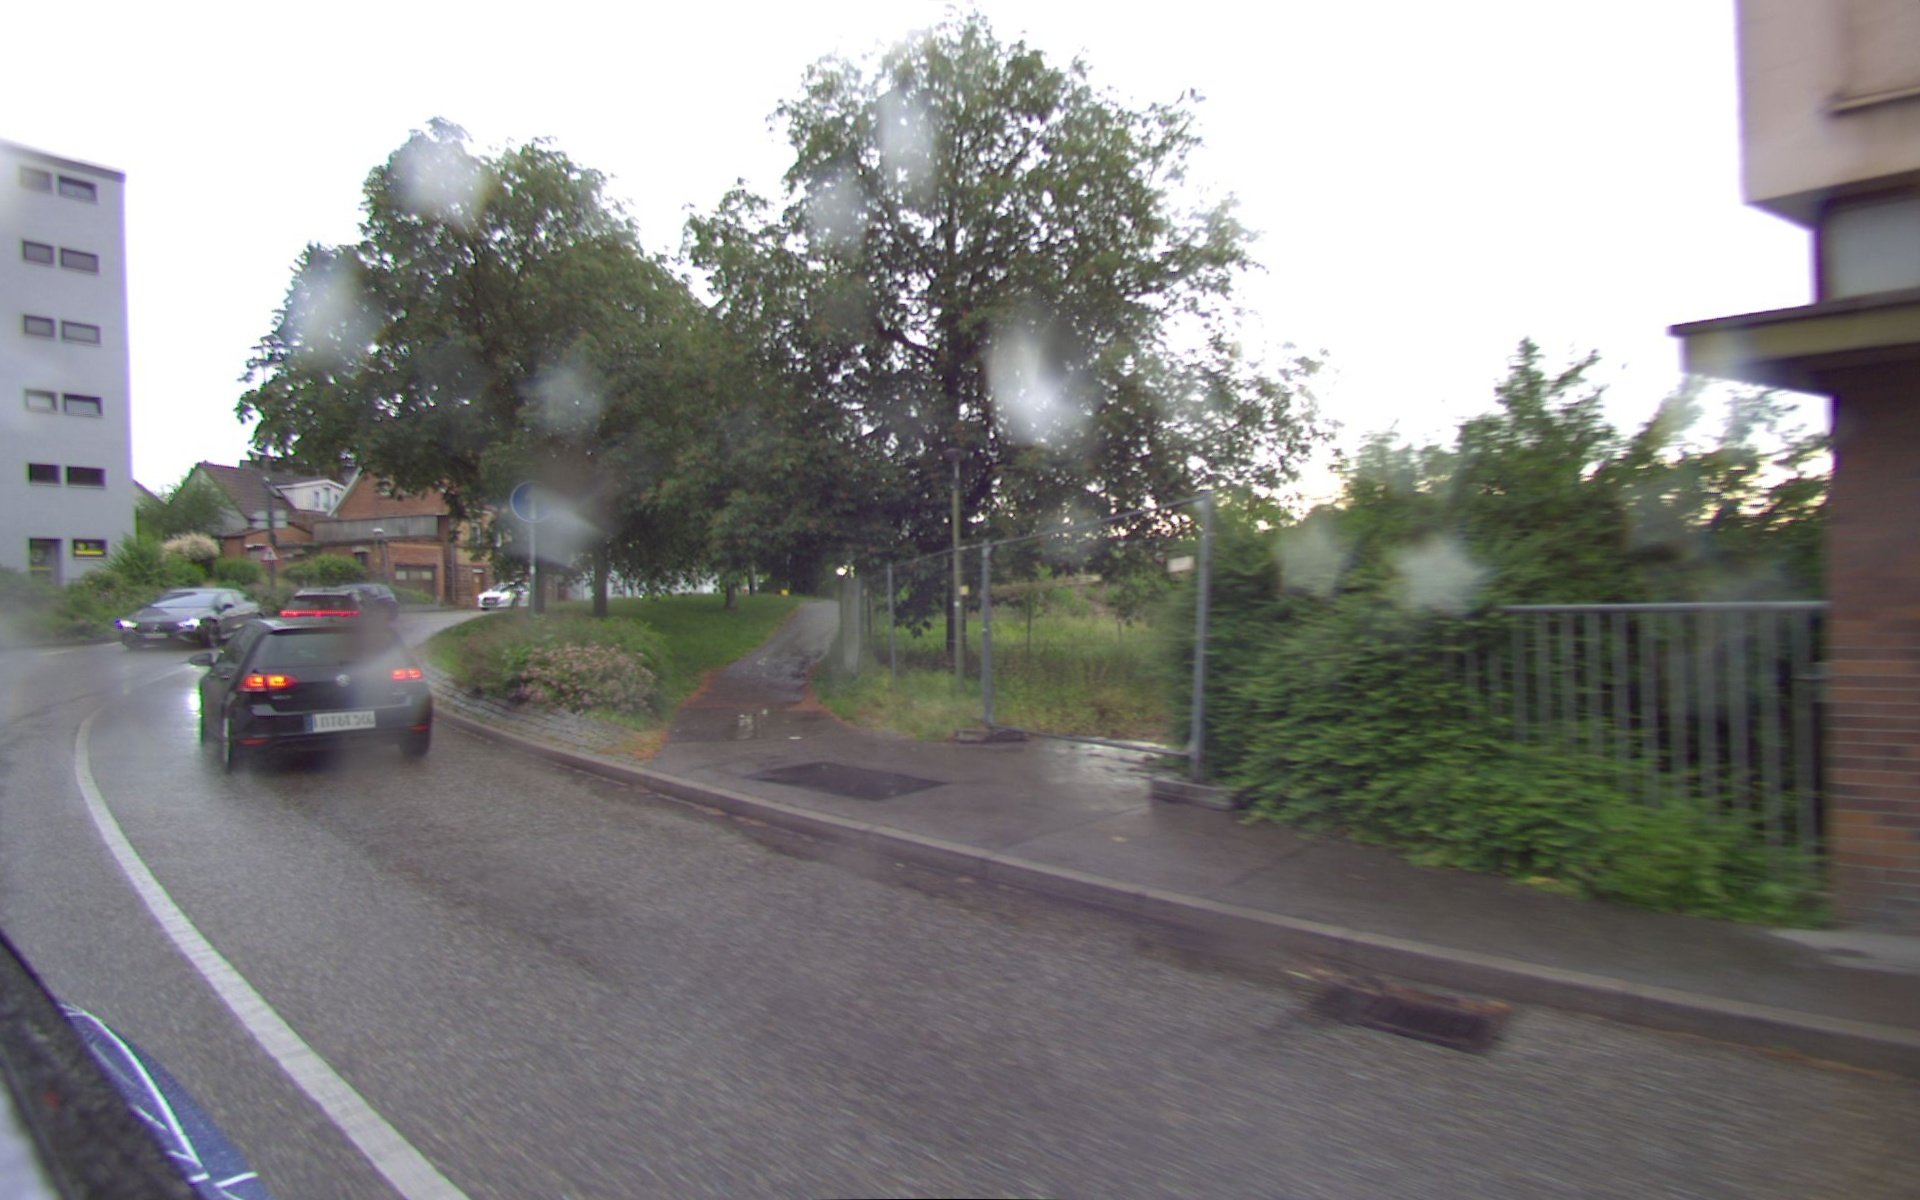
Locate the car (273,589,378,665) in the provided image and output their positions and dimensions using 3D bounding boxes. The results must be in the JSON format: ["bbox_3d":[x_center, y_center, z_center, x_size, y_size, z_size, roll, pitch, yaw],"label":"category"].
[{"bbox_3d":[-15.746,0.613,25.308,1.867,1.607,4.370,1,1,-28],"label":"car"}]

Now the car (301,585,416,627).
[{"bbox_3d":[-22.331,0.190,37.835,1.764,1.357,4.952,-3,1,-6],"label":"car"}]

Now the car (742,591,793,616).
[{"bbox_3d":[-13.373,0.219,70.469,1.718,1.554,4.277,1,1,17],"label":"car"}]

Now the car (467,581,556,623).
[{"bbox_3d":[-23.157,0.162,52.458,1.880,1.672,4.931,-2,-5,8],"label":"car"}]

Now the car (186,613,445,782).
[{"bbox_3d":[-6.933,0.860,10.710,1.748,1.412,3.925,0,0,-41],"label":"car"}]

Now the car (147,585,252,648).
[{"bbox_3d":[-20.838,0.422,27.655,1.811,1.525,4.854,-2,1,-42],"label":"car"}]
